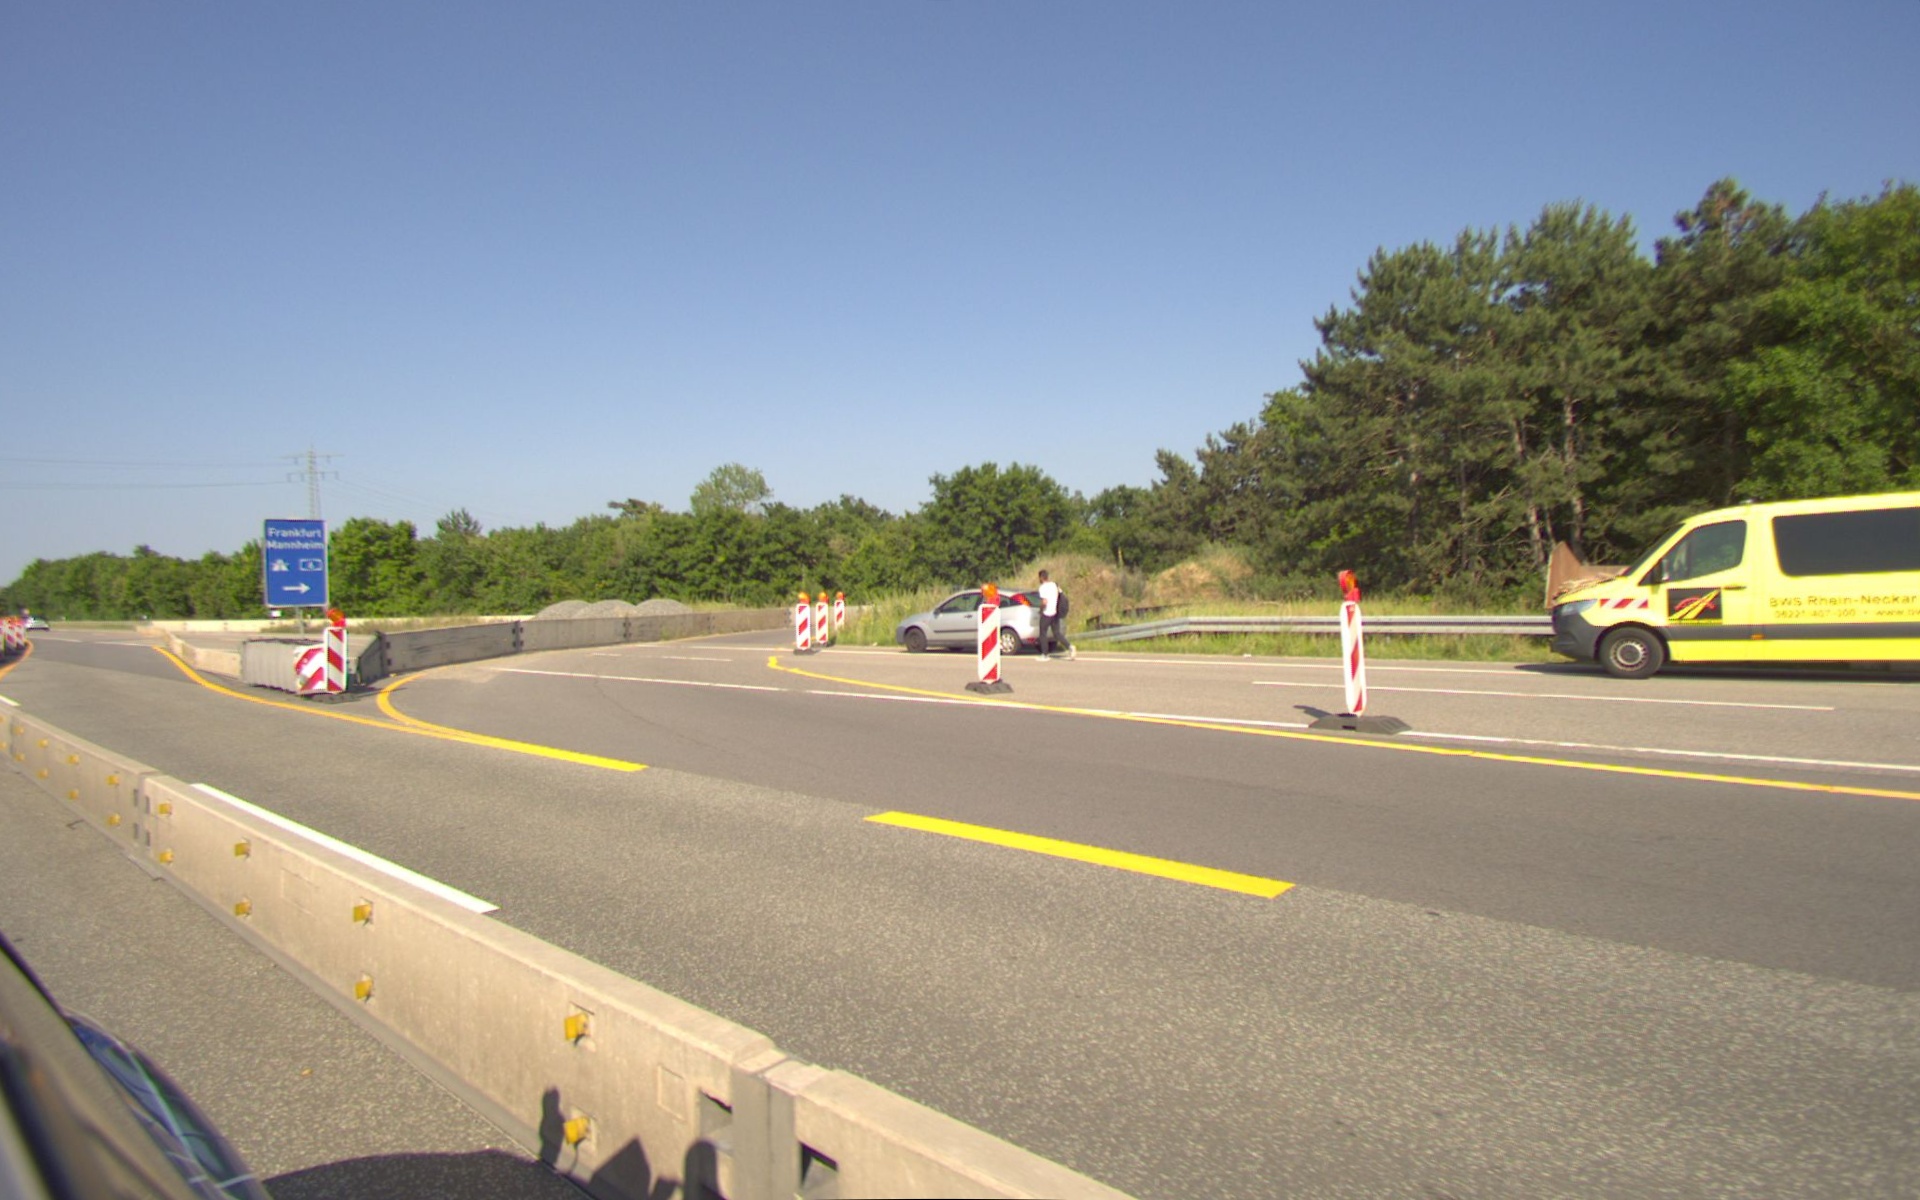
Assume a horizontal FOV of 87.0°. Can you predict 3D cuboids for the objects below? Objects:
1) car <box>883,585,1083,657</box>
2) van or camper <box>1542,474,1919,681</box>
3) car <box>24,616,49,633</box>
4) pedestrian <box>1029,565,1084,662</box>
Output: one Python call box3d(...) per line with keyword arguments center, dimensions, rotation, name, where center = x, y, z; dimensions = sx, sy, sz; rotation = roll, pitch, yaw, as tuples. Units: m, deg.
box3d(center=(0.462, 0.470, 23.039), dimensions=(4.289, 1.471, 1.845), rotation=(-1, 0, 38), name="car")
box3d(center=(11.150, -0.252, 12.993), dimensions=(6.188, 2.396, 1.976), rotation=(-1, -1, 36), name="van or camper")
box3d(center=(-88.753, 2.326, 97.249), dimensions=(1.691, 1.527, 4.182), rotation=(-1, 0, -43), name="car")
box3d(center=(1.872, 0.262, 19.582), dimensions=(0.794, 1.834, 0.736), rotation=(-2, -1, 30), name="pedestrian")
